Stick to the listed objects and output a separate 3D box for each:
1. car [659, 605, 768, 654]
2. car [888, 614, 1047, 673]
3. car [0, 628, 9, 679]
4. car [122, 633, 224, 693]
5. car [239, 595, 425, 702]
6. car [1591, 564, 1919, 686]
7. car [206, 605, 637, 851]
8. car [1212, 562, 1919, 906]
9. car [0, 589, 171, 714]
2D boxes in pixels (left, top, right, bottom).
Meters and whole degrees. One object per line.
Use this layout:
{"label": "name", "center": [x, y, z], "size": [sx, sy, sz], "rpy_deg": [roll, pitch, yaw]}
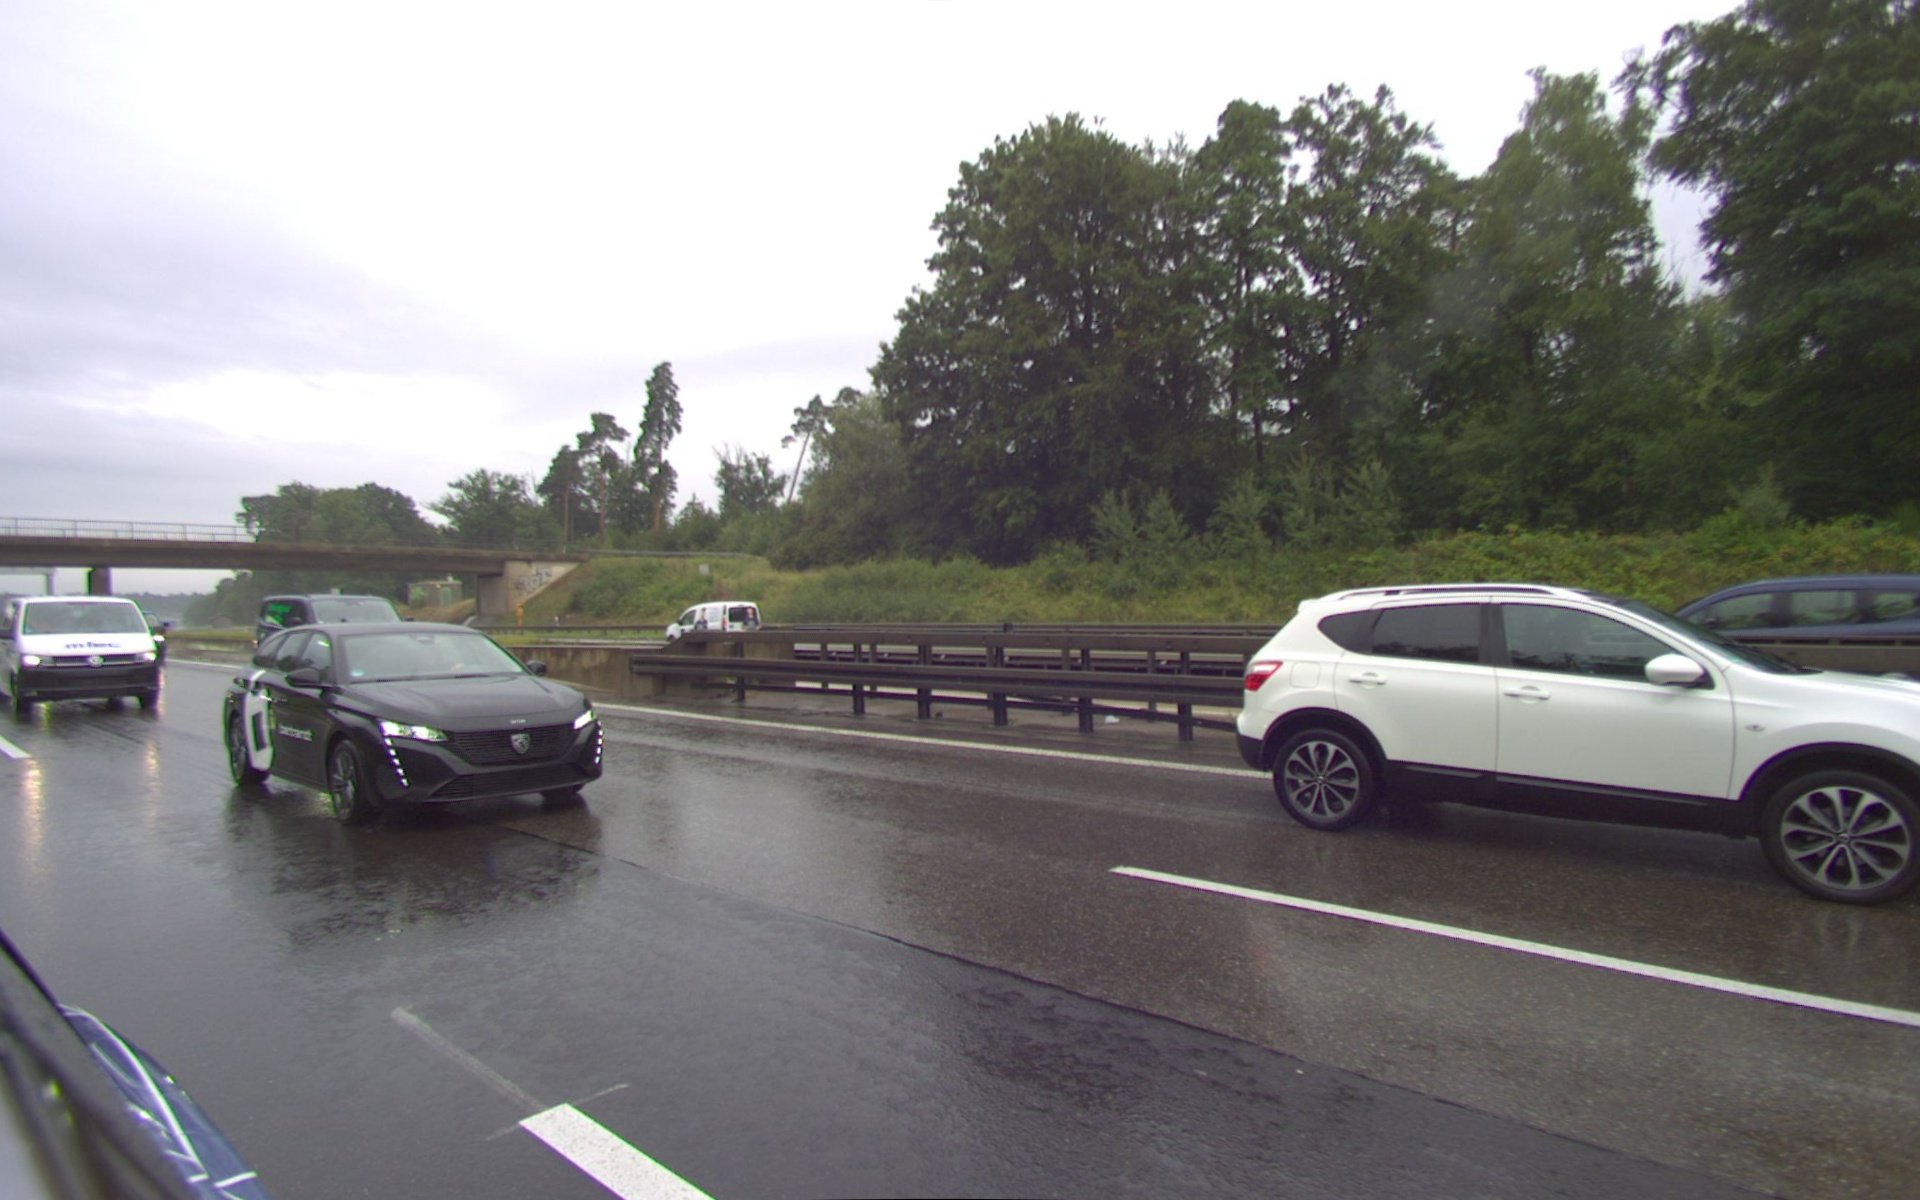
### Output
{"label": "car", "center": [-8.779, 1.030, 35.860], "size": [4.000, 1.608, 1.840], "rpy_deg": [-2, -1, 43]}
{"label": "car", "center": [0.156, 1.204, 28.526], "size": [4.329, 1.509, 1.817], "rpy_deg": [-2, -1, 41]}
{"label": "car", "center": [-31.240, 1.673, 31.691], "size": [4.466, 1.516, 1.826], "rpy_deg": [-1, -1, 43]}
{"label": "car", "center": [-27.780, 2.145, 35.651], "size": [4.755, 1.877, 1.891], "rpy_deg": [-1, 0, 40]}
{"label": "car", "center": [-13.301, 0.935, 21.294], "size": [5.242, 1.958, 1.970], "rpy_deg": [-1, 0, 42]}
{"label": "car", "center": [11.491, 0.338, 14.119], "size": [4.329, 1.509, 1.817], "rpy_deg": [-2, -1, 41]}
{"label": "car", "center": [-4.708, 0.854, 8.511], "size": [4.466, 1.516, 1.826], "rpy_deg": [-2, -1, 43]}
{"label": "car", "center": [4.048, 0.649, 6.291], "size": [4.464, 1.603, 1.826], "rpy_deg": [-2, -1, 41]}
{"label": "car", "center": [-15.488, 0.828, 17.647], "size": [4.766, 1.894, 1.968], "rpy_deg": [-2, -1, 43]}
